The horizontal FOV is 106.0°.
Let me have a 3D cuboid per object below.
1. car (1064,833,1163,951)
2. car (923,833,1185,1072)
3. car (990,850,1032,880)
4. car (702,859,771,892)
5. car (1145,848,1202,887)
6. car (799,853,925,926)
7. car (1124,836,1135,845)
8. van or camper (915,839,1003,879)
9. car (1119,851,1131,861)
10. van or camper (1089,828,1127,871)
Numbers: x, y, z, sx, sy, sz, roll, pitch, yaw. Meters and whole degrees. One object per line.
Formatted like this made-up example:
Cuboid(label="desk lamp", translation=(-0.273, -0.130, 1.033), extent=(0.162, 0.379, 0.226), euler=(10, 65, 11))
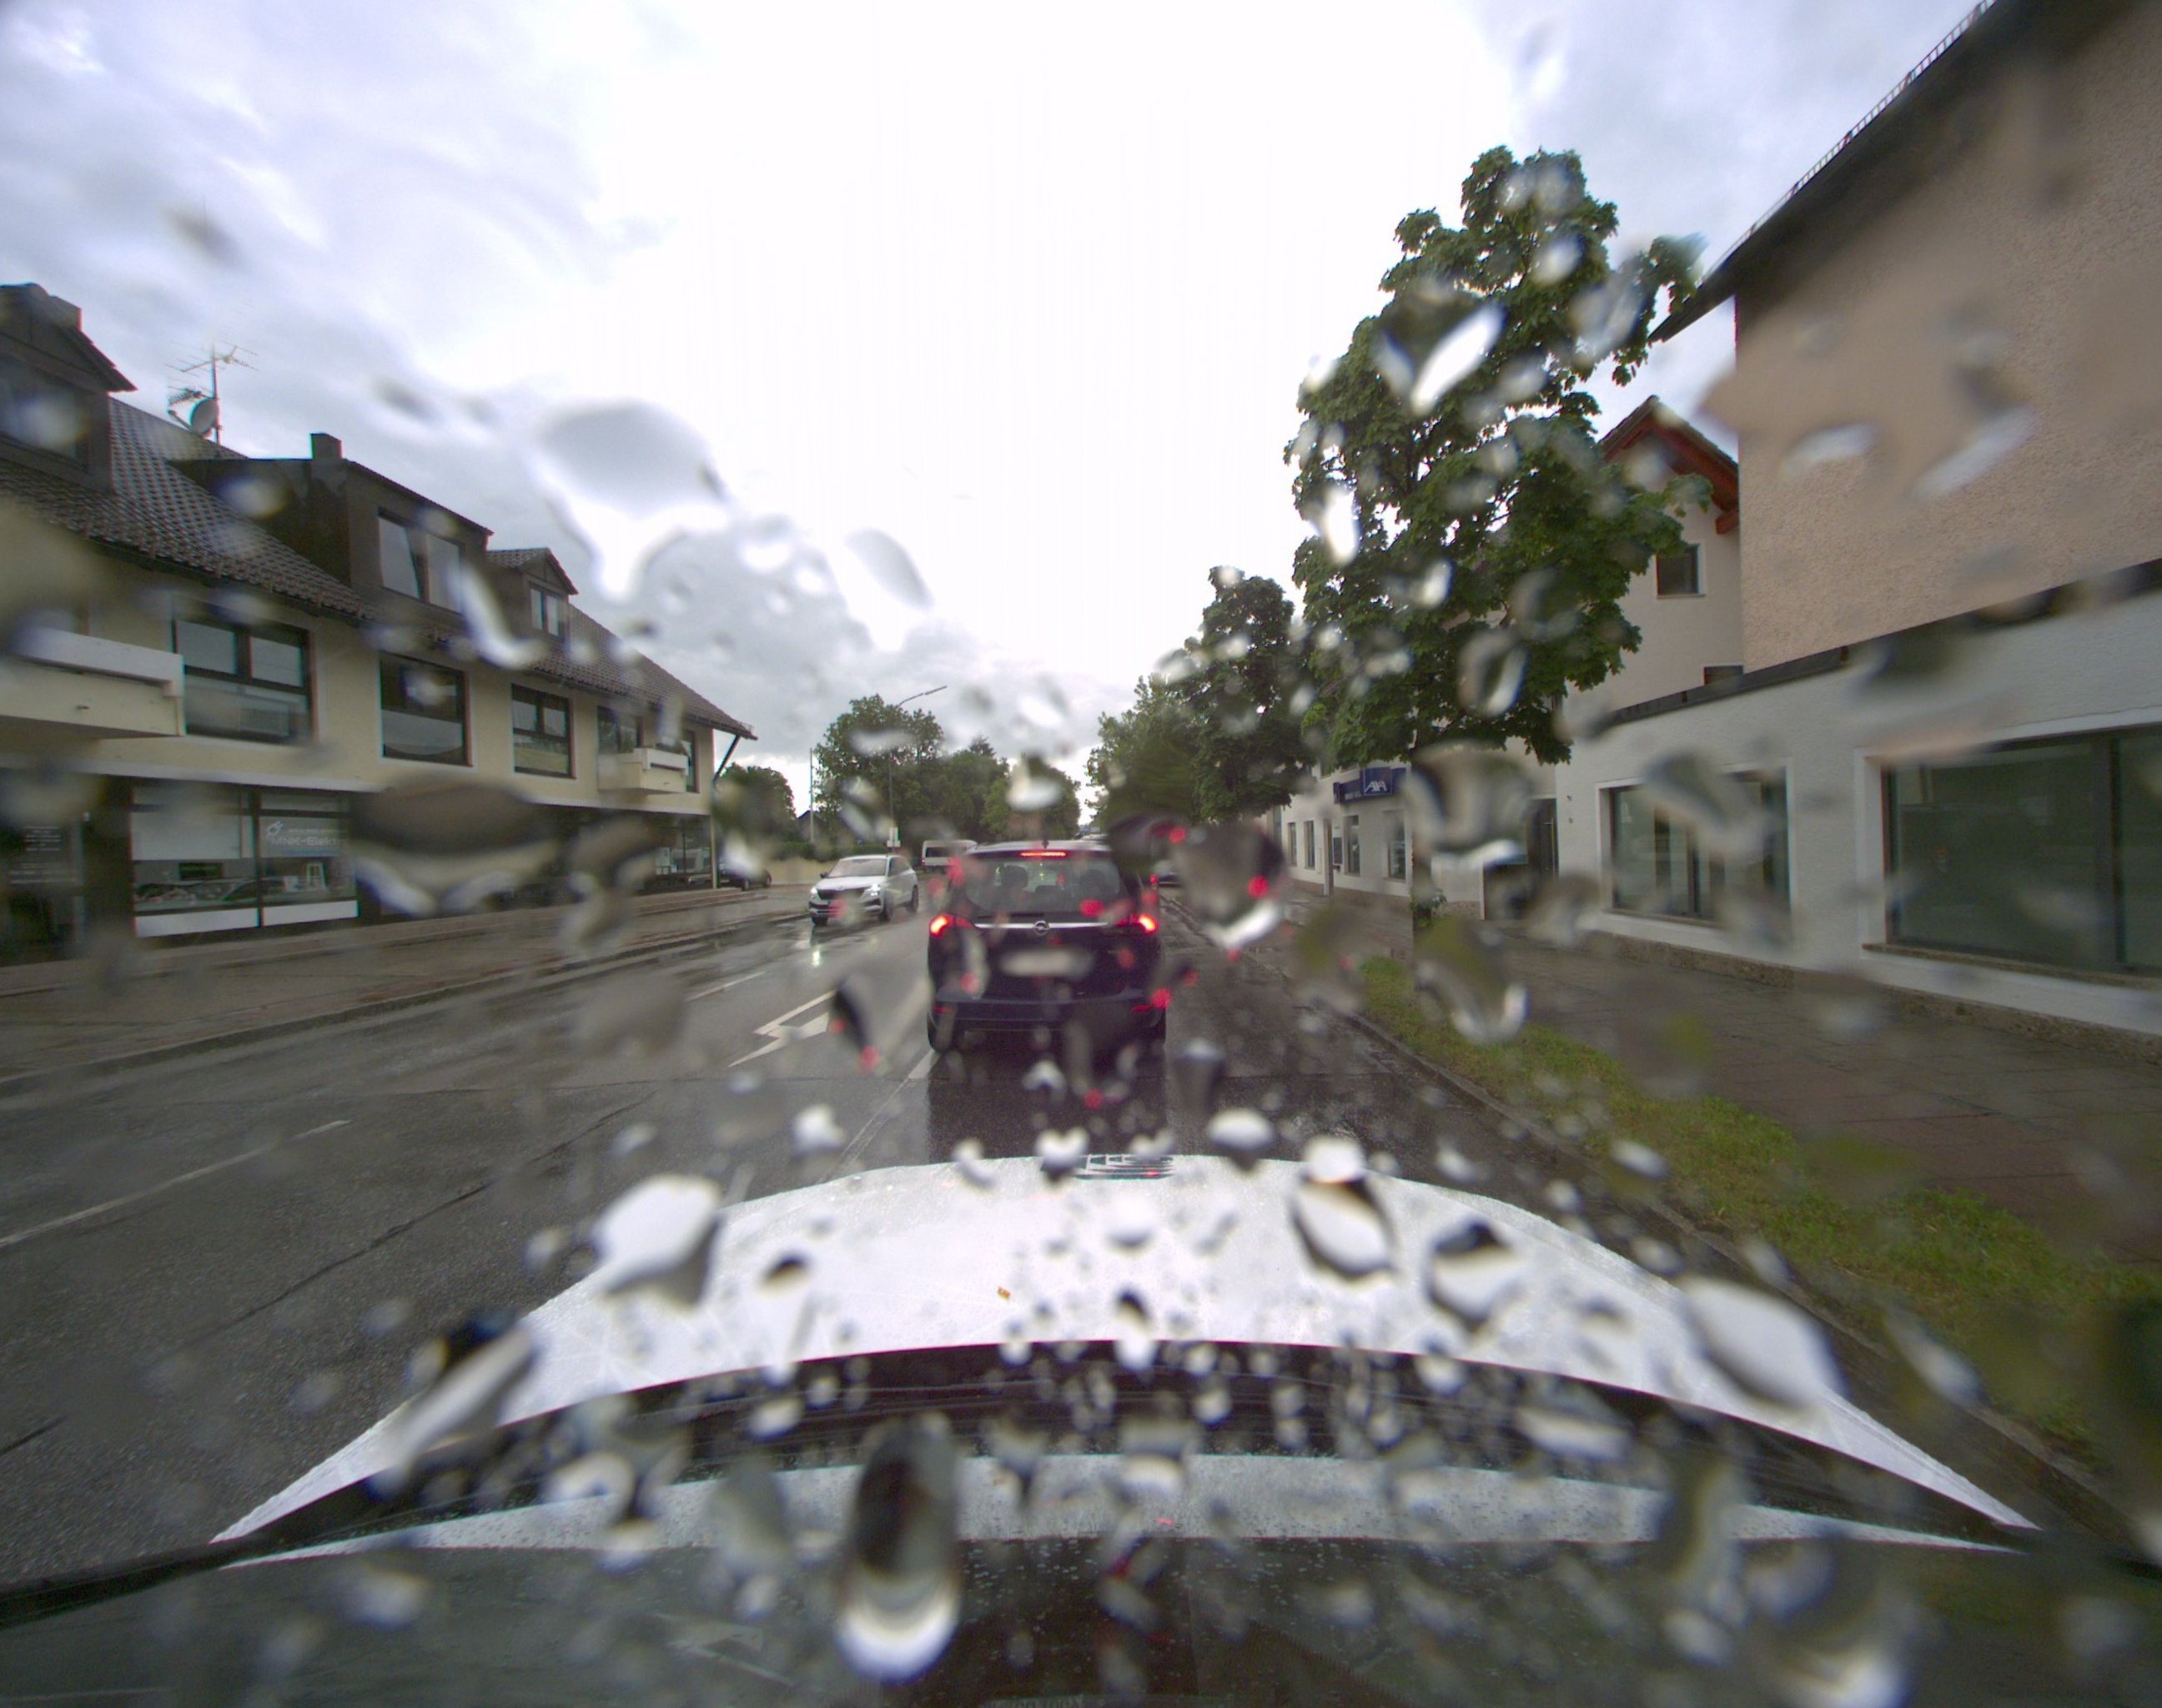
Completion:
Cuboid(label="car", translation=(0.536, 0.568, 13.893), extent=(1.495, 1.776, 3.113), euler=(0, 0, 2))
Cuboid(label="car", translation=(-0.131, 0.664, 7.359), extent=(1.762, 1.604, 3.664), euler=(-1, 0, 2))
Cuboid(label="car", translation=(-3.916, 0.599, 46.272), extent=(1.745, 1.511, 4.233), euler=(-3, 0, 3))
Cuboid(label="car", translation=(-16.243, 0.985, 38.552), extent=(1.601, 1.380, 3.510), euler=(-3, 0, 2))
Cuboid(label="car", translation=(3.913, 0.540, 35.039), extent=(2.110, 1.581, 3.936), euler=(0, 0, 1))
Cuboid(label="car", translation=(-5.335, 0.794, 20.429), extent=(1.920, 1.566, 4.127), euler=(-2, 0, 1))
Cuboid(label="car", translation=(7.860, -2.136, 133.126), extent=(1.624, 1.378, 3.624), euler=(-3, 0, 1))
Cuboid(label="van or camper", translation=(-8.995, 0.347, 60.470), extent=(6.234, 2.707, 2.099), euler=(-2, 0, -3))
Cuboid(label="car", translation=(6.671, 0.321, 123.644), extent=(1.624, 1.378, 3.624), euler=(0, 0, 1))
Cuboid(label="van or camper", translation=(1.820, -0.298, 54.742), extent=(2.351, 2.665, 5.373), euler=(-2, 0, 2))
